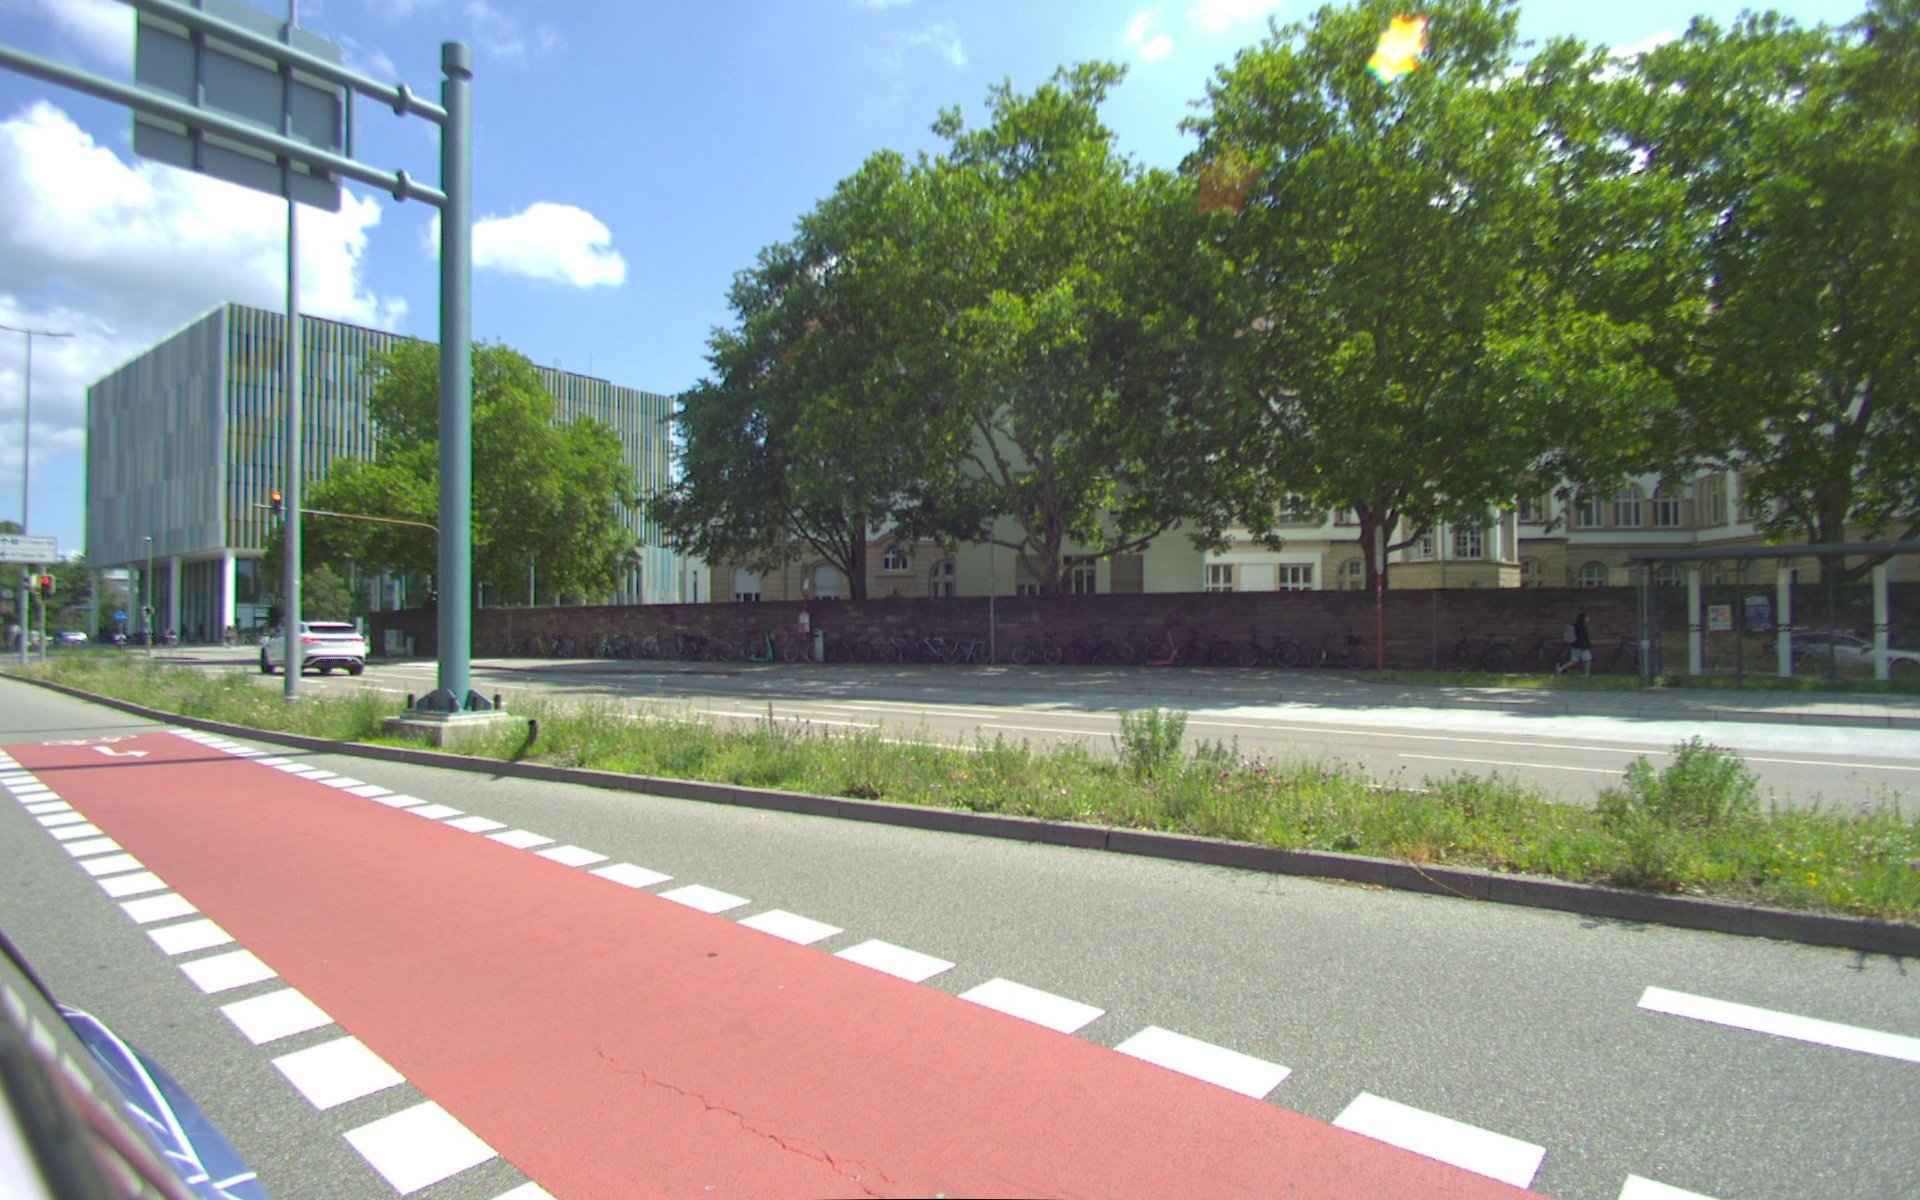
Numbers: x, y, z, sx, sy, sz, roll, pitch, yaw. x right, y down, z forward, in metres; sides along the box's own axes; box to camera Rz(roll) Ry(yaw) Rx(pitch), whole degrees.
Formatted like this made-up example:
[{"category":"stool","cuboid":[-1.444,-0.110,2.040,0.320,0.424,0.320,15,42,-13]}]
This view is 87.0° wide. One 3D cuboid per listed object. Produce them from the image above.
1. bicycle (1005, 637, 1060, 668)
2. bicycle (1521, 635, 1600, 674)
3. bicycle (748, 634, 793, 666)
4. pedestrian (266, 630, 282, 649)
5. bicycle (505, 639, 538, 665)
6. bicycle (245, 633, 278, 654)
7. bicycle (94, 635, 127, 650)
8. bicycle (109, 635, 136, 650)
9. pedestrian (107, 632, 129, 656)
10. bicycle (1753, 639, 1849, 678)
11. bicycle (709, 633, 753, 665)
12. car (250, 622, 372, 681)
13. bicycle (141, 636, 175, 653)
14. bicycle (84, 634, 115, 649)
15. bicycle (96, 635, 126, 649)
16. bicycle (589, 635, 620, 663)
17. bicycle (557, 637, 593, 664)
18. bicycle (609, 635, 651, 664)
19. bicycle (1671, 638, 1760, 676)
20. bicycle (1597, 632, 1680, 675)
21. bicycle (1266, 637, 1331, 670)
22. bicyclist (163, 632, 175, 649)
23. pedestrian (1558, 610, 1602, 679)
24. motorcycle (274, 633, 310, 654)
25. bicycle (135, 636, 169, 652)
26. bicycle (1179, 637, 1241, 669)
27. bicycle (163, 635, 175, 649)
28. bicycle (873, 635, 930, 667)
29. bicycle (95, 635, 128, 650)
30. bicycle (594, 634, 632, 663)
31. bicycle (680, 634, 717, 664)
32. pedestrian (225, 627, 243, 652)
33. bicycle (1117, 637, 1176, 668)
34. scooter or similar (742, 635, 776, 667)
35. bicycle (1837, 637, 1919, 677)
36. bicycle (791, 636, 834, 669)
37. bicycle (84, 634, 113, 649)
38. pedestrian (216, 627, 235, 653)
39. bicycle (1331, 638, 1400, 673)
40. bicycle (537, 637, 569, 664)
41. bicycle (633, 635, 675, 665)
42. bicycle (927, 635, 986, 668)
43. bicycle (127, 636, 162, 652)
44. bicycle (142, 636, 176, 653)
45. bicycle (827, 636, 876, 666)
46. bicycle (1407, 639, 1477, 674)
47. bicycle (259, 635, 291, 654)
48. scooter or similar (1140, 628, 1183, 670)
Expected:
[{"category":"bicycle","cuboid":[2.262,1.632,31.670,1.658,0.956,0.540,-2,-2,29]},{"category":"bicycle","cuboid":[15.377,1.393,25.951,1.655,0.959,0.541,-1,-2,24]},{"category":"bicycle","cuboid":[-6.993,1.832,37.265,1.582,1.161,0.530,-1,-2,19]},{"category":"pedestrian","cuboid":[-63.406,3.660,93.508,0.997,1.720,1.214,0,-2,-23]},{"category":"bicycle","cuboid":[-19.714,2.332,45.484,1.589,1.107,0.567,-2,-2,33]},{"category":"bicycle","cuboid":[-57.171,3.559,82.840,0.797,1.656,3.420,0,-2,-8]},{"category":"bicycle","cuboid":[-88.397,4.392,105.320,0.621,1.506,2.479,-2,-2,41]},{"category":"bicycle","cuboid":[-85.405,4.349,103.170,0.621,1.506,2.044,-2,-2,41]},{"category":"pedestrian","cuboid":[-59.672,3.115,71.750,0.875,1.641,0.962,-1,-2,30]},{"category":"bicycle","cuboid":[20.181,1.401,24.326,1.653,0.909,0.541,-1,-2,21]},{"category":"bicycle","cuboid":[-8.616,1.848,38.037,1.582,1.161,0.530,-1,-2,19]},{"category":"car","cuboid":[-20.361,1.573,31.659,4.774,1.680,2.049,-2,-2,42]},{"category":"bicycle","cuboid":[-75.223,4.180,94.906,0.621,1.506,2.420,-2,-2,41]},{"category":"bicycle","cuboid":[-91.857,4.448,108.030,0.621,1.506,2.479,-2,-2,41]},{"category":"bicycle","cuboid":[-89.069,4.410,106.181,0.621,1.506,2.300,-2,-2,41]},{"category":"bicycle","cuboid":[-14.908,2.061,42.410,1.591,1.161,0.408,-2,-2,36]},{"category":"bicycle","cuboid":[-16.481,2.155,43.345,1.589,1.161,0.616,-2,-2,33]},{"category":"bicycle","cuboid":[-13.269,1.986,40.695,1.576,1.161,0.401,-1,-2,8]},{"category":"bicycle","cuboid":[18.567,1.404,24.905,1.653,0.909,0.541,-1,-2,21]},{"category":"bicycle","cuboid":[16.904,1.329,25.241,1.614,1.059,0.541,-1,-2,24]},{"category":"bicycle","cuboid":[9.504,1.495,28.451,1.656,0.909,0.540,-1,-2,26]},{"category":"bicyclist","cuboid":[-57.672,2.957,73.790,0.608,1.235,0.836,1,-2,-35]},{"category":"pedestrian","cuboid":[14.934,1.067,24.398,0.752,1.629,0.612,-1,-1,20]},{"category":"motorcycle","cuboid":[-54.794,3.540,83.052,0.957,1.652,3.301,0,-2,-5]},{"category":"bicycle","cuboid":[-78.417,4.248,98.228,0.621,1.506,2.479,-2,-2,41]},{"category":"bicycle","cuboid":[7.263,1.535,29.404,1.658,0.909,0.540,-2,-2,29]},{"category":"bicycle","cuboid":[-57.851,3.093,74.005,0.637,1.006,2.168,1,-2,-37]},{"category":"bicycle","cuboid":[-1.970,1.722,34.222,1.941,1.055,0.540,-2,-2,29]},{"category":"bicycle","cuboid":[-87.612,4.376,104.525,0.621,1.506,2.479,-2,-2,41]},{"category":"bicycle","cuboid":[-14.195,1.976,41.412,1.581,1.161,0.400,-1,-2,18]},{"category":"bicycle","cuboid":[-10.110,1.899,39.131,1.587,1.161,0.398,-2,-2,30]},{"category":"pedestrian","cuboid":[-56.816,3.099,79.178,0.955,1.940,0.882,0,-2,-23]},{"category":"bicycle","cuboid":[5.569,1.556,30.275,1.658,0.909,0.540,-1,-2,29]},{"category":"scooter or similar","cuboid":[-7.259,1.836,36.538,1.184,1.161,0.430,-1,-2,20]},{"category":"bicycle","cuboid":[21.774,1.344,23.781,1.653,0.909,0.541,-1,-2,21]},{"category":"bicycle","cuboid":[-5.290,1.868,36.205,1.587,1.151,0.429,-2,-2,29]},{"category":"bicycle","cuboid":[-92.770,4.467,108.941,0.656,1.506,2.273,-2,-2,41]},{"category":"pedestrian","cuboid":[-55.330,3.013,76.234,0.955,1.940,0.882,0,-2,-20]},{"category":"bicycle","cuboid":[11.016,1.496,27.534,1.663,0.909,0.497,-2,-2,38]},{"category":"bicycle","cuboid":[-17.824,2.199,44.295,1.589,1.161,0.495,-2,-2,33]},{"category":"bicycle","cuboid":[-12.103,1.973,40.059,1.576,1.161,0.401,-1,-2,8]},{"category":"bicycle","cuboid":[-0.123,1.674,33.073,1.887,1.055,0.540,-2,-2,29]},{"category":"bicycle","cuboid":[-78.208,4.224,97.082,0.621,1.506,2.479,-2,-2,41]},{"category":"bicycle","cuboid":[-75.803,4.197,95.778,2.473,1.506,0.731,1,-2,-39]},{"category":"bicycle","cuboid":[-3.810,1.773,35.323,1.795,1.016,0.476,-2,-2,32]},{"category":"bicycle","cuboid":[12.834,1.490,26.976,1.656,0.909,0.540,-1,-2,26]},{"category":"bicycle","cuboid":[-56.128,3.645,82.938,0.919,1.505,2.690,0,-1,-4]},{"category":"scooter or similar","cuboid":[5.850,1.419,29.378,1.184,1.192,0.430,-1,-2,20]}]
